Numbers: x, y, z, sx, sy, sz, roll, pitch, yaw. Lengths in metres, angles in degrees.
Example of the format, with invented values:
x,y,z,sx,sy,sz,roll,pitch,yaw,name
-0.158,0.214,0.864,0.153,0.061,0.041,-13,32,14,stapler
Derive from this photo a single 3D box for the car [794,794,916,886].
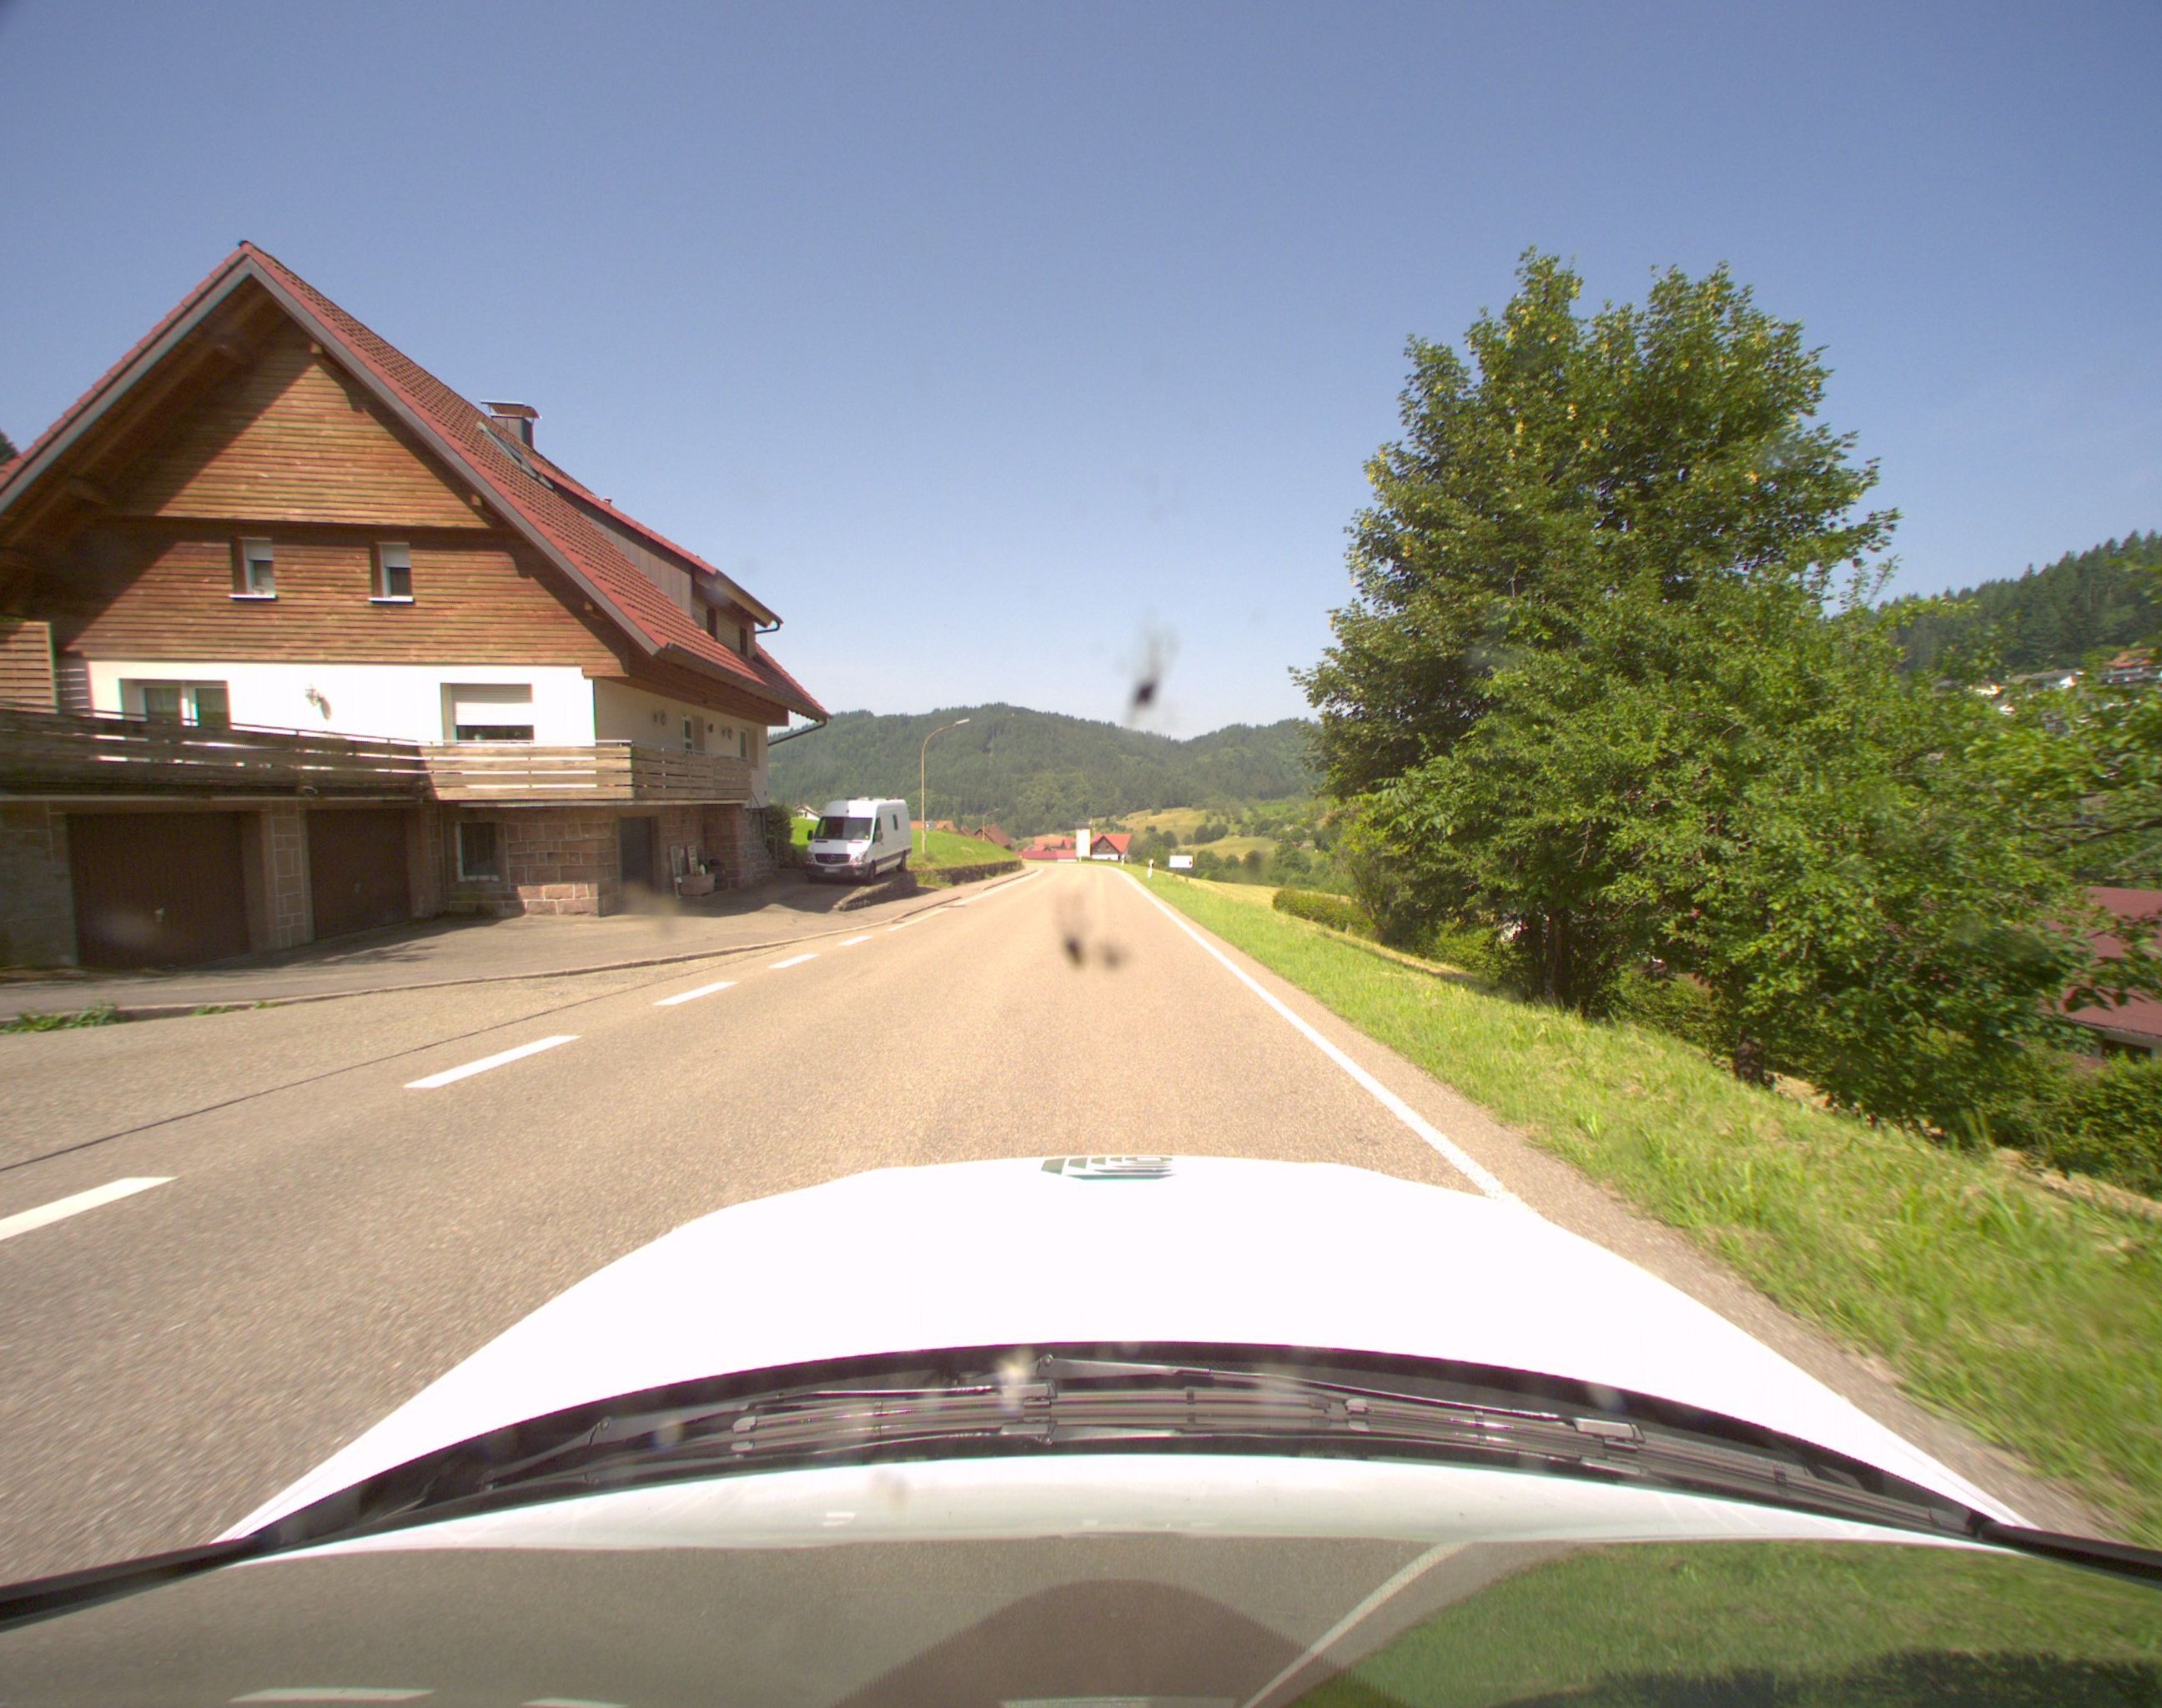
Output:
x,y,z,sx,sy,sz,roll,pitch,yaw,name
-7.328,-0.614,27.388,2.060,2.688,7.176,1,3,0,car
